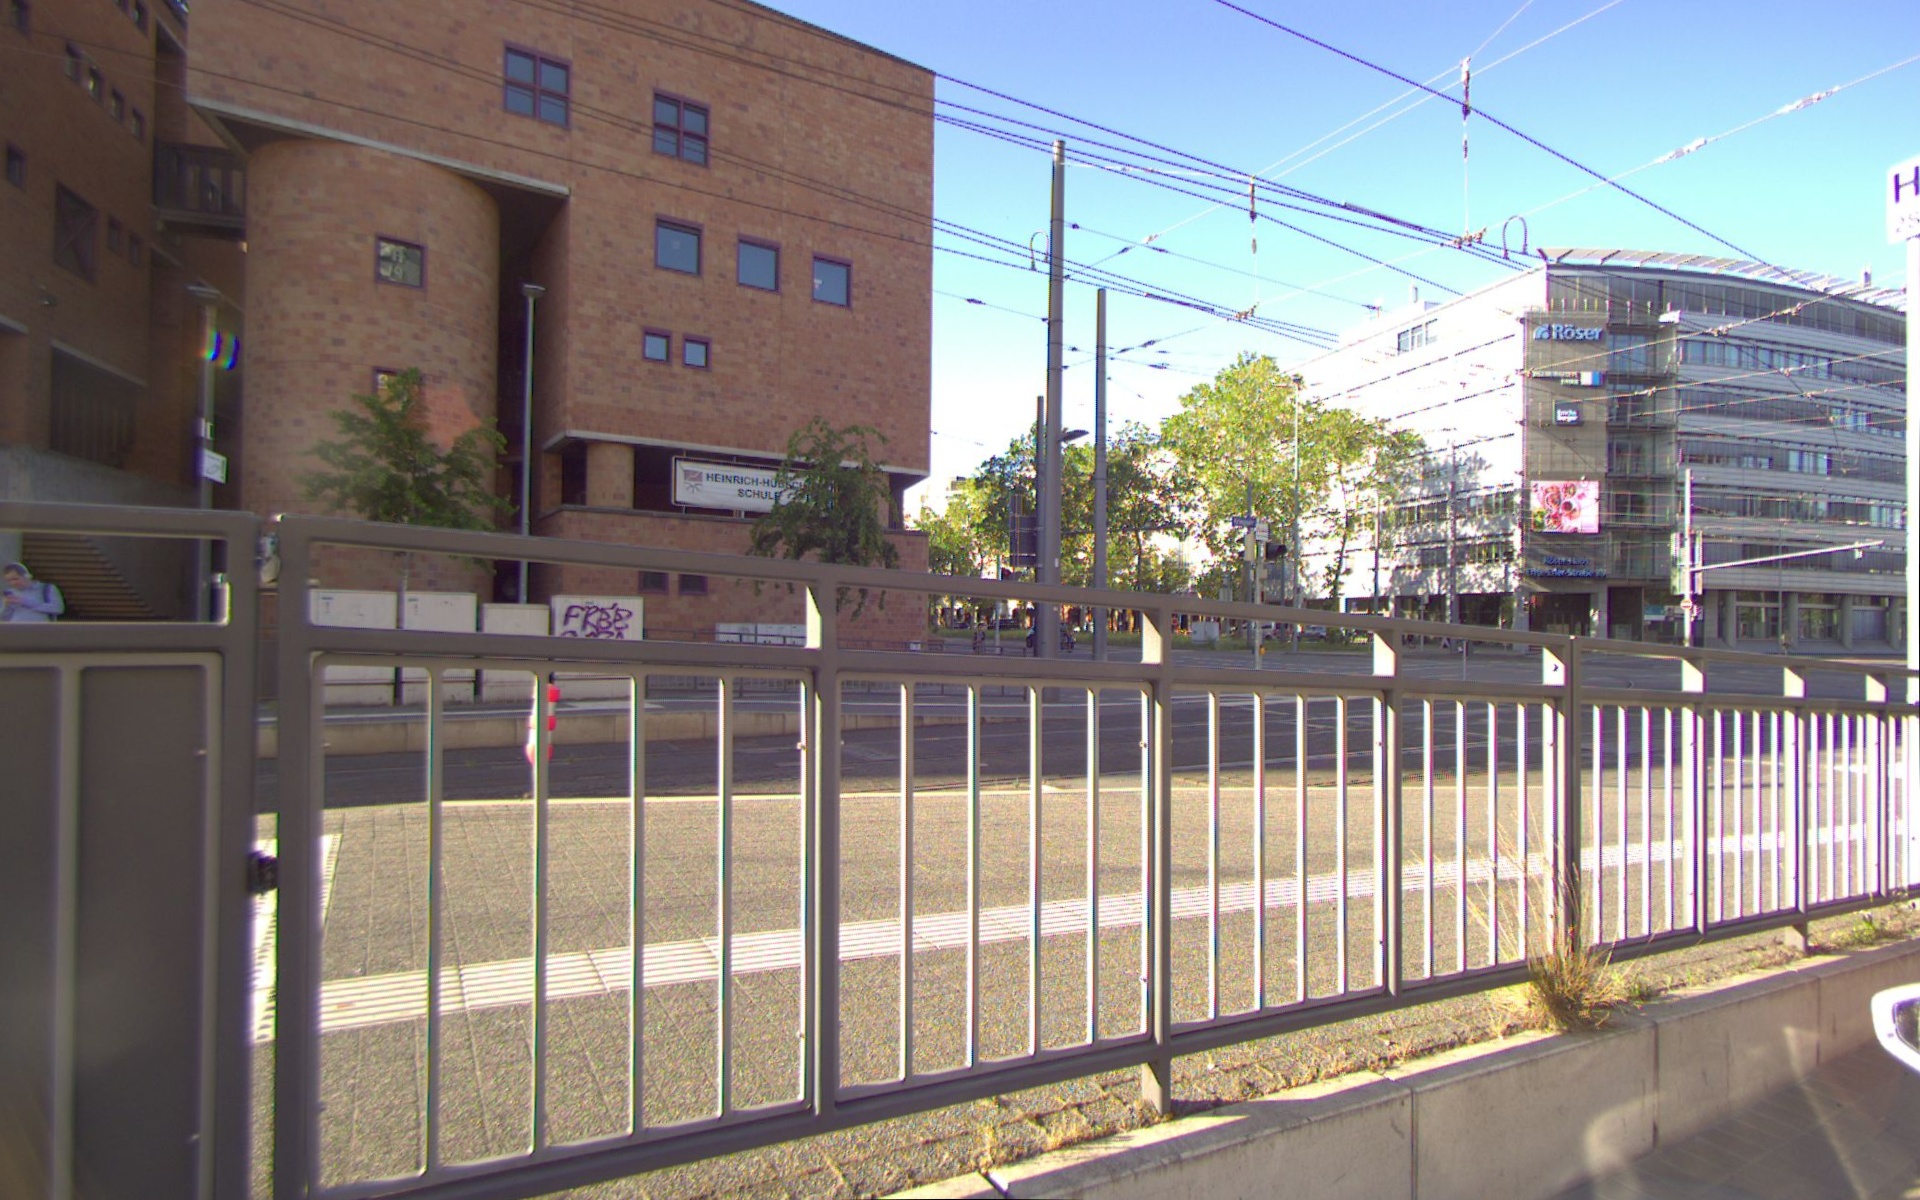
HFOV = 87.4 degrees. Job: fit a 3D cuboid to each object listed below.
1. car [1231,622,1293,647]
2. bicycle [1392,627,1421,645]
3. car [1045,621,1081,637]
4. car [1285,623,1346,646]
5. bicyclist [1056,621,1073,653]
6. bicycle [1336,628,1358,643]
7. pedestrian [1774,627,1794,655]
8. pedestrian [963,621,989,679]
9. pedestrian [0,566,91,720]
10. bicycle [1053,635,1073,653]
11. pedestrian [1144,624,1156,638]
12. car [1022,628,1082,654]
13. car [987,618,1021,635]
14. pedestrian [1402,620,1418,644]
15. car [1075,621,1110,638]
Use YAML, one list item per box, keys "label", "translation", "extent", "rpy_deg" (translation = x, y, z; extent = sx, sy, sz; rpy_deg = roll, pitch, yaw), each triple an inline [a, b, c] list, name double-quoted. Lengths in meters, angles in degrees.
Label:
- label: "car"
  translation: [24.348, 2.767, 81.251]
  extent: [1.904, 1.868, 4.889]
  rpy_deg: [-1, 0, -28]
- label: "bicycle"
  translation: [31.225, 2.490, 70.260]
  extent: [0.605, 1.179, 1.835]
  rpy_deg: [-2, 2, -27]
- label: "car"
  translation: [10.995, 3.098, 107.453]
  extent: [1.969, 1.650, 4.055]
  rpy_deg: [0, -1, -29]
- label: "car"
  translation: [26.961, 2.625, 76.318]
  extent: [1.840, 1.594, 4.387]
  rpy_deg: [-1, 0, -25]
- label: "bicyclist"
  translation: [5.451, 1.938, 52.602]
  extent: [0.614, 1.643, 0.812]
  rpy_deg: [1, -1, -16]
- label: "bicycle"
  translation: [30.542, 2.774, 79.348]
  extent: [1.812, 1.167, 0.467]
  rpy_deg: [0, 0, -23]
- label: "pedestrian"
  translation: [54.237, 2.716, 66.127]
  extent: [0.872, 1.847, 0.674]
  rpy_deg: [1, -2, -20]
- label: "pedestrian"
  translation: [0.465, 1.423, 28.973]
  extent: [0.501, 1.639, 0.504]
  rpy_deg: [2, 0, -40]
- label: "pedestrian"
  translation: [-9.626, 0.440, 10.539]
  extent: [0.647, 1.555, 0.696]
  rpy_deg: [1, -1, -33]
- label: "bicycle"
  translation: [5.401, 2.291, 52.780]
  extent: [0.528, 0.925, 1.564]
  rpy_deg: [1, -1, -15]
- label: "pedestrian"
  translation: [20.734, 3.379, 109.432]
  extent: [0.860, 1.567, 0.989]
  rpy_deg: [1, -1, -22]
- label: "car"
  translation: [5.385, 2.385, 59.102]
  extent: [1.638, 1.346, 3.588]
  rpy_deg: [2, 0, -34]
- label: "car"
  translation: [5.167, 3.087, 117.522]
  extent: [2.011, 2.003, 4.382]
  rpy_deg: [0, -1, -29]
- label: "pedestrian"
  translation: [31.557, 2.263, 70.426]
  extent: [0.598, 1.633, 0.832]
  rpy_deg: [-2, 2, -26]
- label: "car"
  translation: [13.450, 2.996, 102.248]
  extent: [1.840, 1.660, 3.844]
  rpy_deg: [1, -1, -25]
